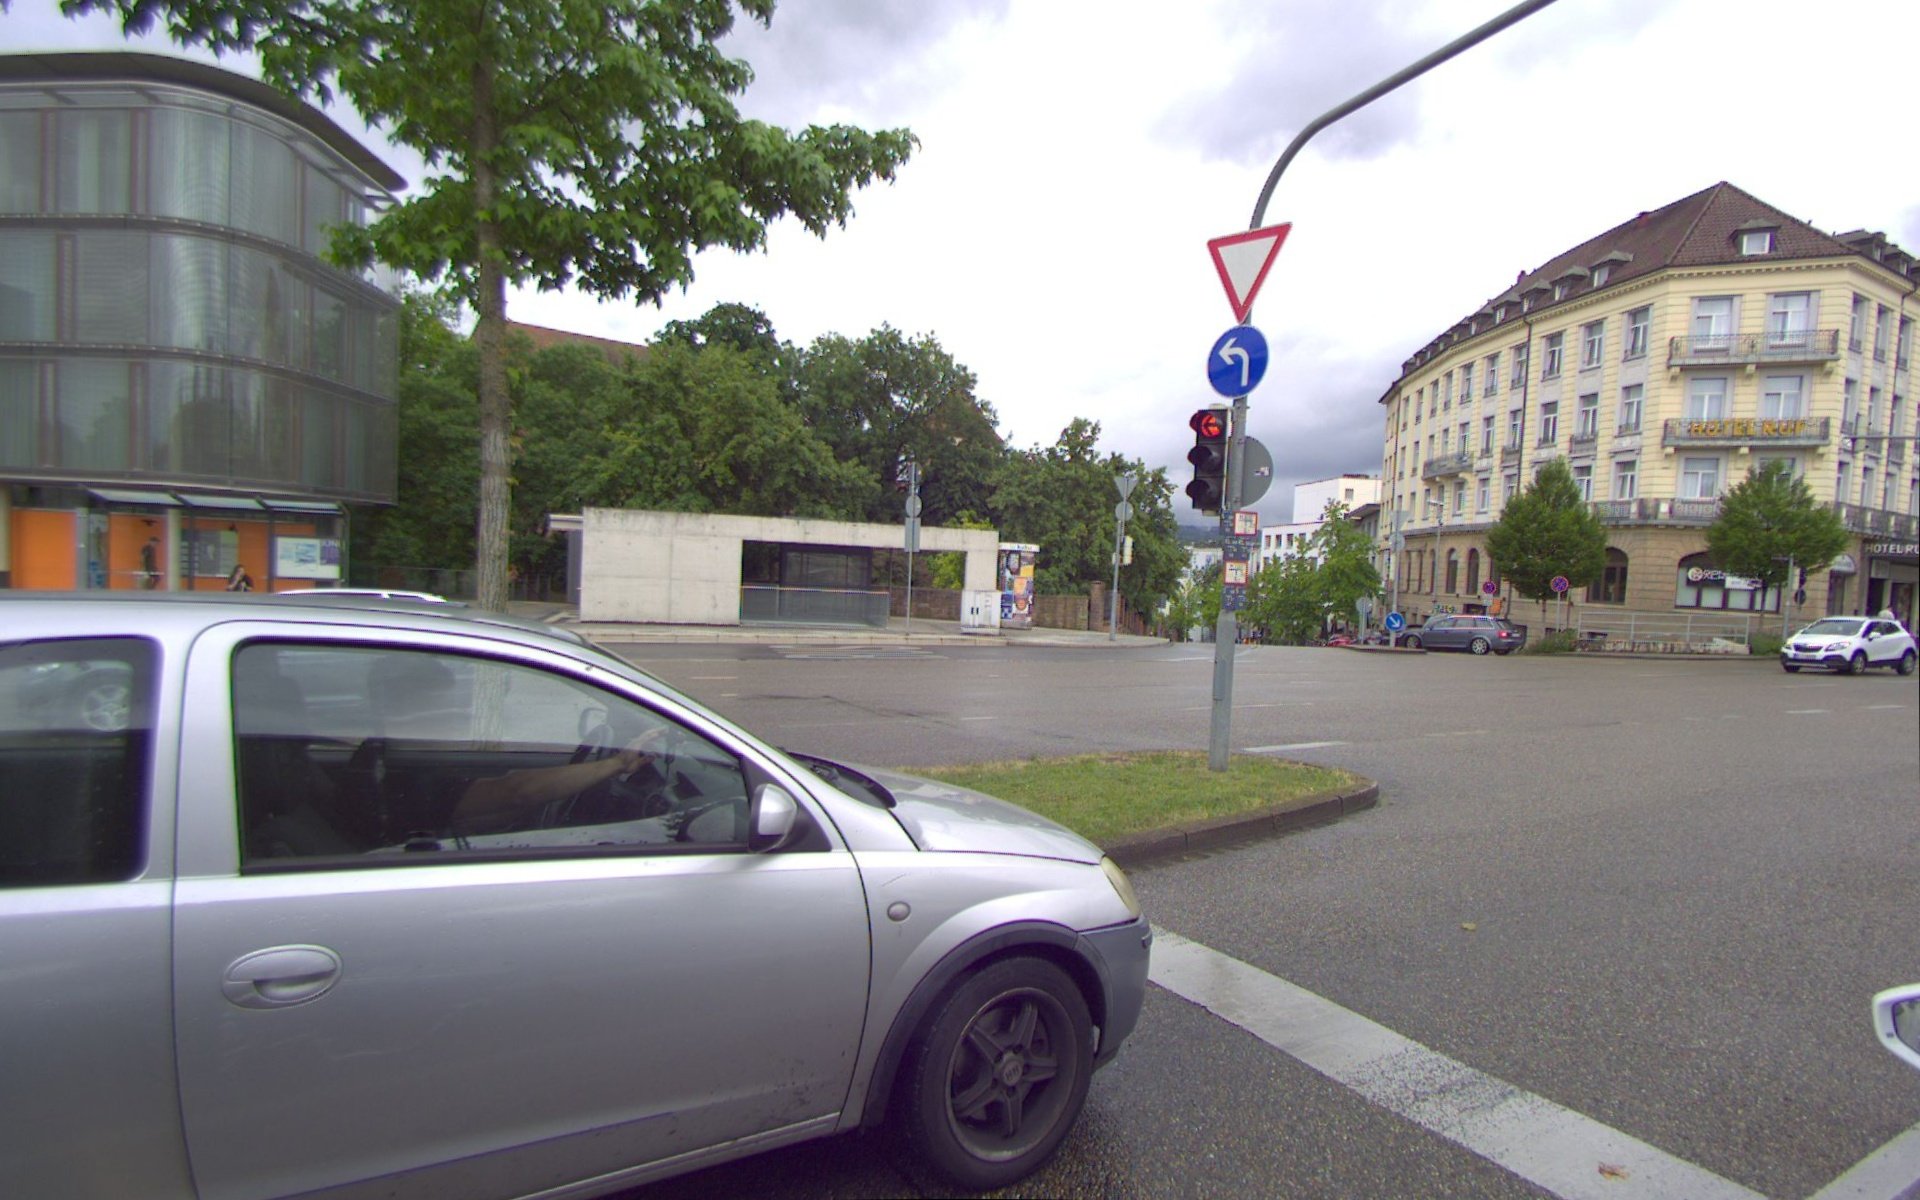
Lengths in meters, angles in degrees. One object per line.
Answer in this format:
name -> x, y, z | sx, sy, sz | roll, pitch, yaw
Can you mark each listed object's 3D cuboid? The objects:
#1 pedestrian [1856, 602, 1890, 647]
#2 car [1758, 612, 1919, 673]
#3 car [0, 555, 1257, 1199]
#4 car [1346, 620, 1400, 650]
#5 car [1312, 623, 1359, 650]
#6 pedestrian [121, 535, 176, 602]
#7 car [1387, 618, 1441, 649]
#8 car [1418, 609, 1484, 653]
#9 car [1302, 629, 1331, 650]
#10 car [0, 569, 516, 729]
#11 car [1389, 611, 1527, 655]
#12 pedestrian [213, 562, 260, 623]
pedestrian -> 38.474, 1.038, 42.331 | 0.741, 1.837, 0.875 | 2, 0, -30
car -> 25.648, 1.227, 29.313 | 4.148, 1.639, 1.951 | 2, 0, -23
car -> -1.197, 0.691, 2.519 | 3.678, 1.485, 1.686 | 2, 0, -31
car -> 23.277, 1.956, 56.805 | 1.734, 1.498, 4.002 | 2, 0, 6
car -> 23.503, 2.248, 63.014 | 1.734, 1.498, 4.012 | 2, 0, 6
pedestrian -> -22.498, -0.889, 27.875 | 0.809, 1.780, 0.785 | 1, 6, -3
car -> 23.187, 1.678, 51.431 | 1.602, 1.417, 4.002 | 2, 1, 11
car -> 21.960, 1.360, 45.079 | 1.602, 1.783, 4.002 | 2, 1, 11
car -> 29.318, 3.218, 82.703 | 1.734, 1.498, 4.002 | 2, 0, 12
car -> -7.346, 0.510, 11.043 | 4.395, 1.485, 1.688 | 2, 0, -28
car -> 18.869, 1.211, 38.229 | 1.684, 1.485, 4.406 | 2, 0, -36
pedestrian -> -16.146, -0.170, 22.435 | 0.710, 1.316, 0.665 | 2, 0, -25
